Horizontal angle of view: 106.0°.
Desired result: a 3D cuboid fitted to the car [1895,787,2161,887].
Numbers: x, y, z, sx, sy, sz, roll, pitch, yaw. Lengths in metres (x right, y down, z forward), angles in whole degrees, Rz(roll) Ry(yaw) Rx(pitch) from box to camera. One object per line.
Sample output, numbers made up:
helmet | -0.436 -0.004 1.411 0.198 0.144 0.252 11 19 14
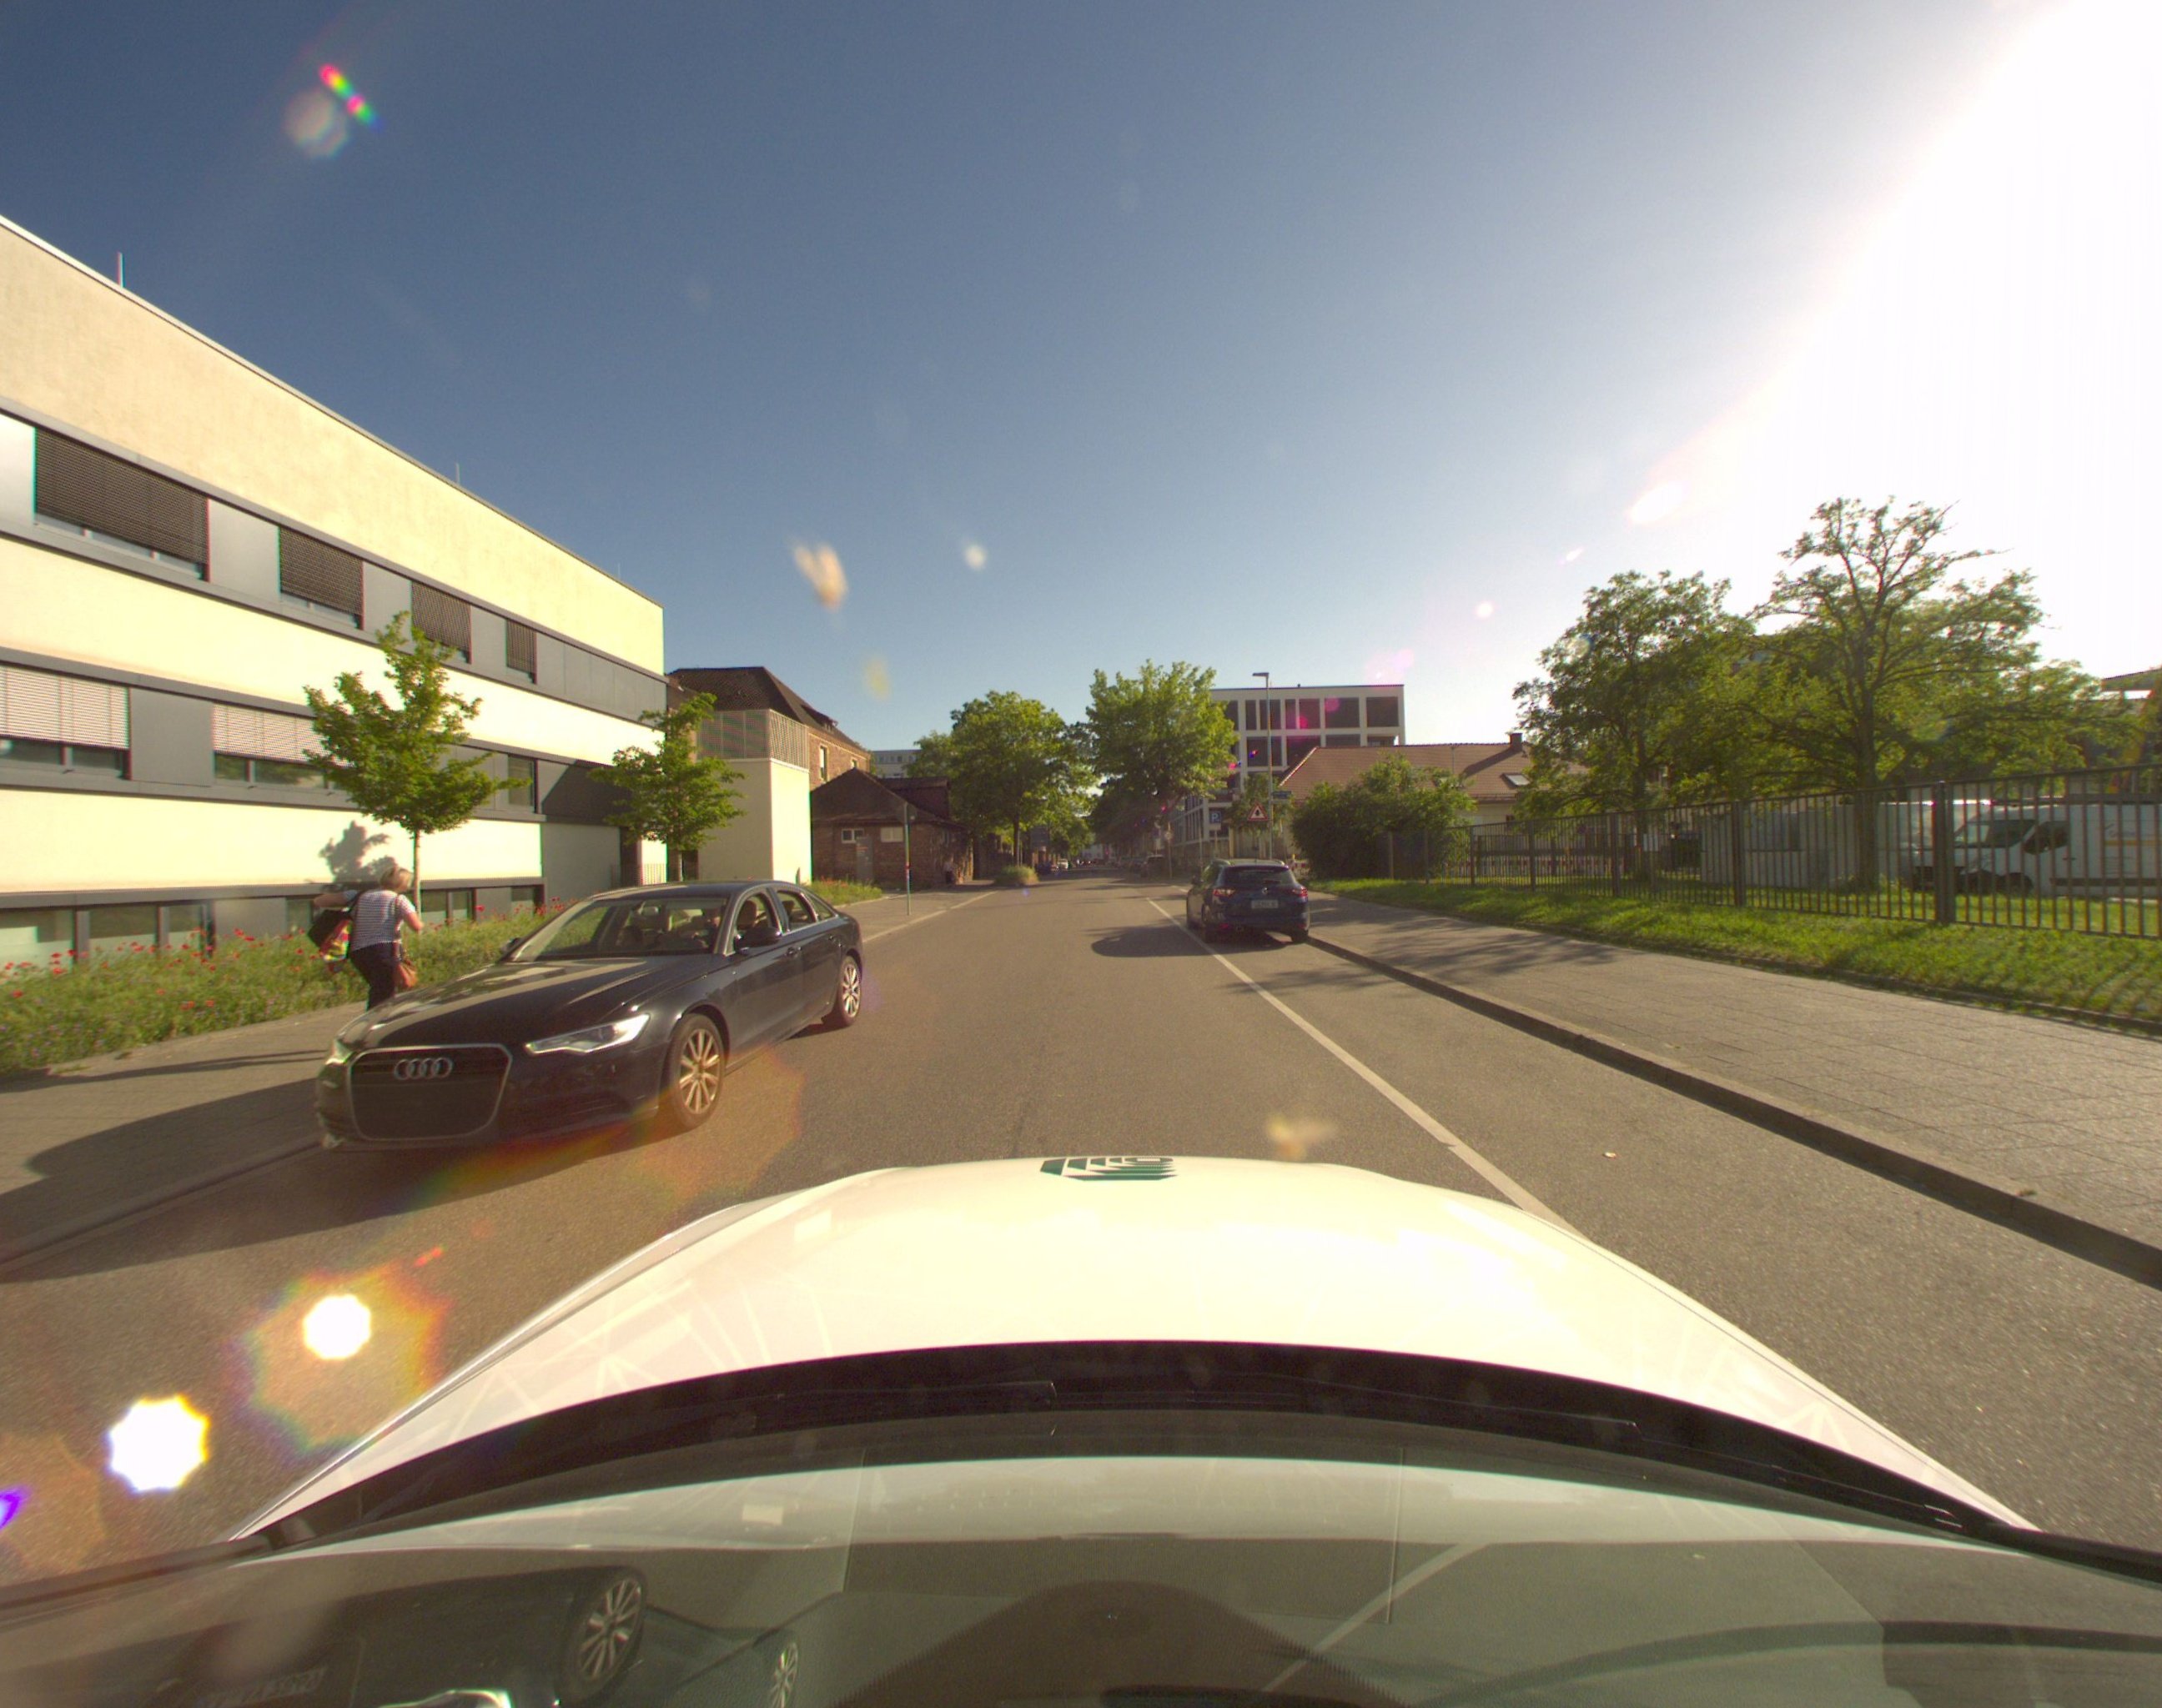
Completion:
car | 23.536 -0.414 19.766 5.257 2.202 2.004 -1 1 6

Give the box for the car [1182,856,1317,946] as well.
car | 3.026 0.775 15.466 1.811 1.453 4.216 0 0 2

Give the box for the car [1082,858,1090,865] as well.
car | 1.131 1.561 179.841 1.647 1.530 4.000 -1 0 1

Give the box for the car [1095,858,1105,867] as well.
car | 3.687 1.608 156.743 1.761 1.548 4.065 -2 0 0

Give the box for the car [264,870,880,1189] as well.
car | -3.086 0.915 6.303 1.755 1.442 4.539 -2 0 2

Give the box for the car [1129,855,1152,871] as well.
car | 5.553 0.840 76.437 1.761 1.440 3.999 -2 0 0

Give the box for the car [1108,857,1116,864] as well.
car | 7.098 1.501 186.423 1.580 1.400 3.838 -1 0 2

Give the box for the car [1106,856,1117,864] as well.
car | 5.774 1.122 153.589 1.986 1.425 3.838 -1 0 2

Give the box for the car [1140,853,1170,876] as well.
car | 4.989 0.707 55.362 1.697 1.468 4.789 -1 0 1

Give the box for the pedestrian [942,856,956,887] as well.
pedestrian | -6.780 0.901 41.880 0.519 1.562 1.096 -1 0 0

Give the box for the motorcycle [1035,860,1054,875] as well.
motorcycle | -3.287 1.236 73.219 0.570 1.276 2.135 -2 0 34

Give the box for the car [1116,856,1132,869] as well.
car | 5.531 1.092 105.294 1.943 1.578 3.838 -1 0 2

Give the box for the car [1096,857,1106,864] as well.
car | 3.916 1.255 157.515 1.882 1.400 3.838 -1 0 2

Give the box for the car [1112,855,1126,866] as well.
car | 5.562 0.974 120.938 1.986 1.465 3.838 -1 0 2

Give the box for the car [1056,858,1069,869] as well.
car | -2.643 1.408 117.374 1.761 1.487 3.999 -2 0 0

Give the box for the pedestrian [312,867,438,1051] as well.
pedestrian | -6.178 0.888 7.153 0.536 1.524 0.607 -1 0 2
